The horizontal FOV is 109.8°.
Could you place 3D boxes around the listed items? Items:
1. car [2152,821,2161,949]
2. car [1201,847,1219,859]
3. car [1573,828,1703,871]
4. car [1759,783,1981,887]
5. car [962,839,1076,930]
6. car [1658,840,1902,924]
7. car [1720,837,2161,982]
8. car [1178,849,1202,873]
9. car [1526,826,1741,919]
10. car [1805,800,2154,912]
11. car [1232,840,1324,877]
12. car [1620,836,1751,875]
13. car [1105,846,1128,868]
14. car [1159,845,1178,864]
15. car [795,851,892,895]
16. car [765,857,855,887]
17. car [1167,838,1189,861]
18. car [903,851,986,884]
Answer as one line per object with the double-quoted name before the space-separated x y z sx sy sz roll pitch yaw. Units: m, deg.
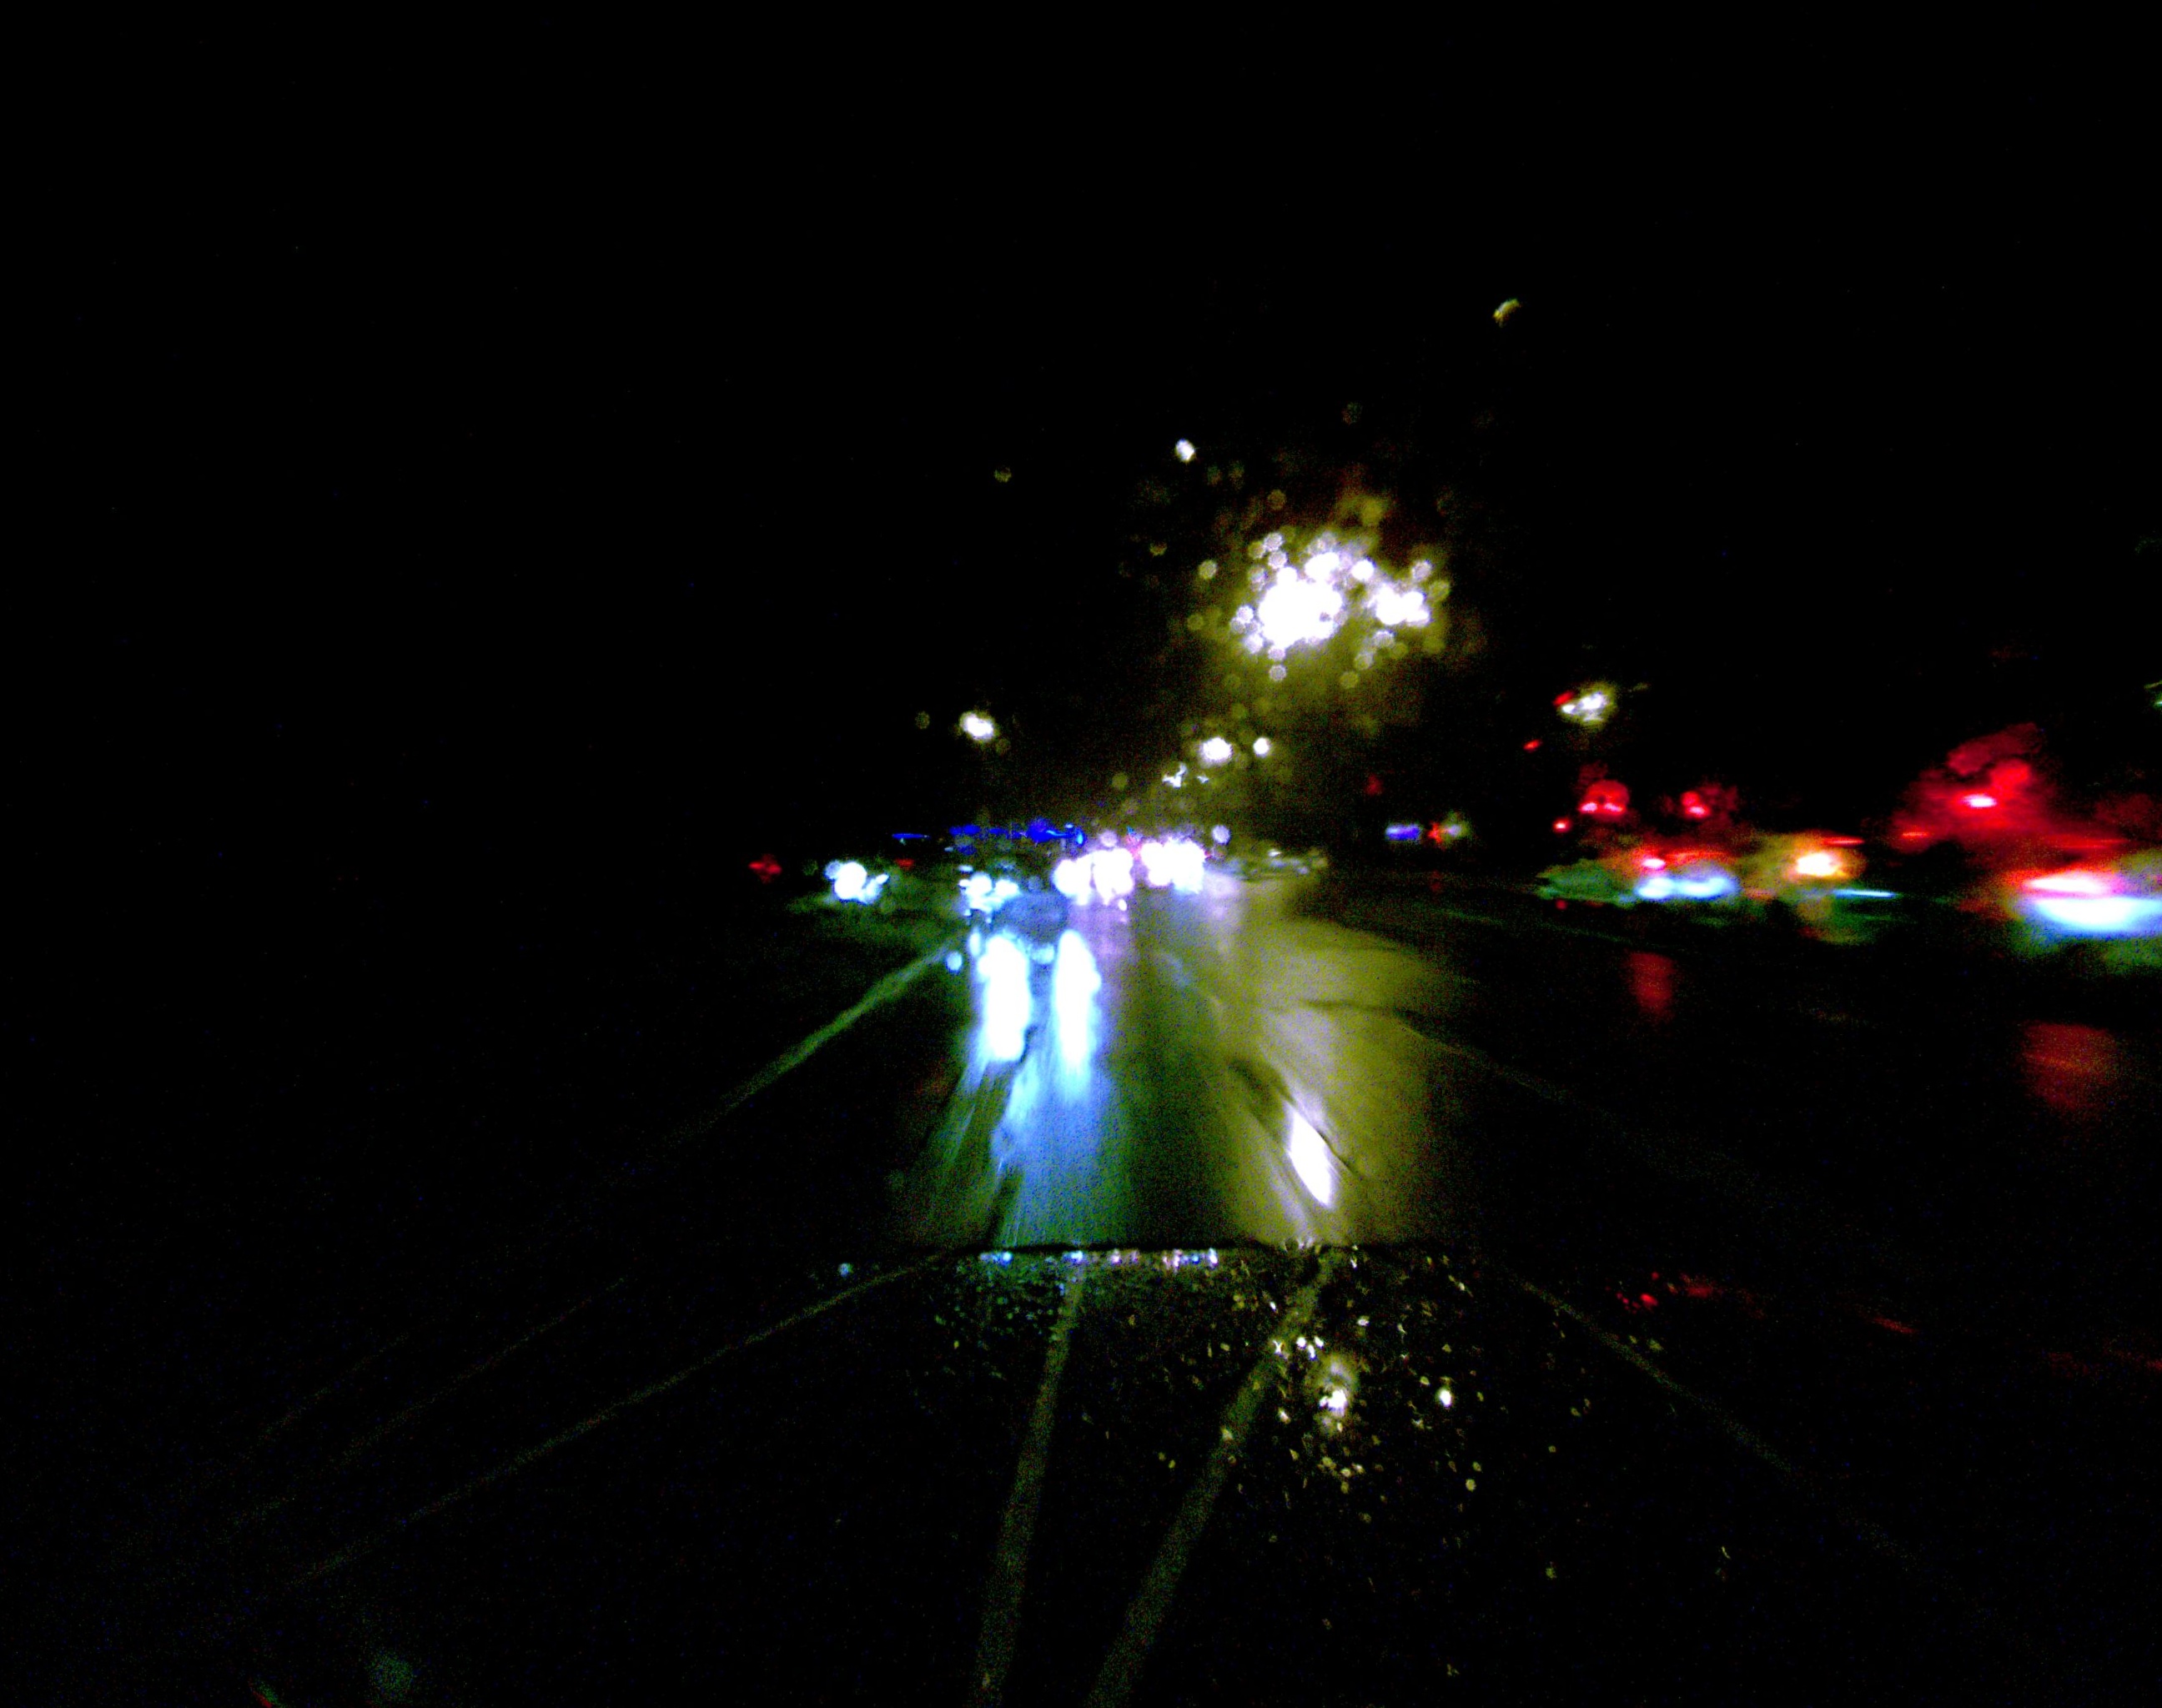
"car" 14.883 0.375 7.930 1.803 1.656 3.976 -1 0 0
"car" 17.962 -0.173 106.150 1.835 1.466 4.035 -2 3 0
"car" 25.451 -0.220 34.848 4.552 1.821 1.783 -1 2 5
"car" 23.320 -0.516 22.878 2.251 2.694 5.616 -1 0 18
"car" -1.650 0.634 18.565 2.006 1.914 4.363 -1 1 -15
"car" 14.819 0.503 16.485 1.716 1.479 4.057 -1 2 4
"car" 11.251 0.558 10.139 1.781 1.475 4.412 -2 1 1
"car" 9.565 0.607 66.962 1.666 1.844 4.145 -2 2 3
"car" 11.619 0.336 16.353 1.764 1.715 3.901 -2 1 0
"car" 17.116 0.021 14.880 1.764 1.837 4.284 -1 0 0
"car" 10.003 0.253 38.887 4.233 1.584 1.791 -3 -4 5
"car" 29.887 0.077 37.688 4.715 1.783 2.001 -1 1 6
"car" 3.107 0.223 66.205 1.957 1.624 4.258 -2 2 3
"car" 9.725 0.057 84.454 1.711 1.927 3.609 -1 2 2
"car" -9.425 0.741 30.009 3.976 1.524 1.691 -2 3 40
"car" -14.241 0.942 40.044 4.168 1.436 1.682 -1 1 12
"car" 9.551 -0.489 75.378 1.792 2.013 4.145 -2 2 3
"car" -7.568 0.727 42.267 4.122 1.696 1.850 -2 1 10
